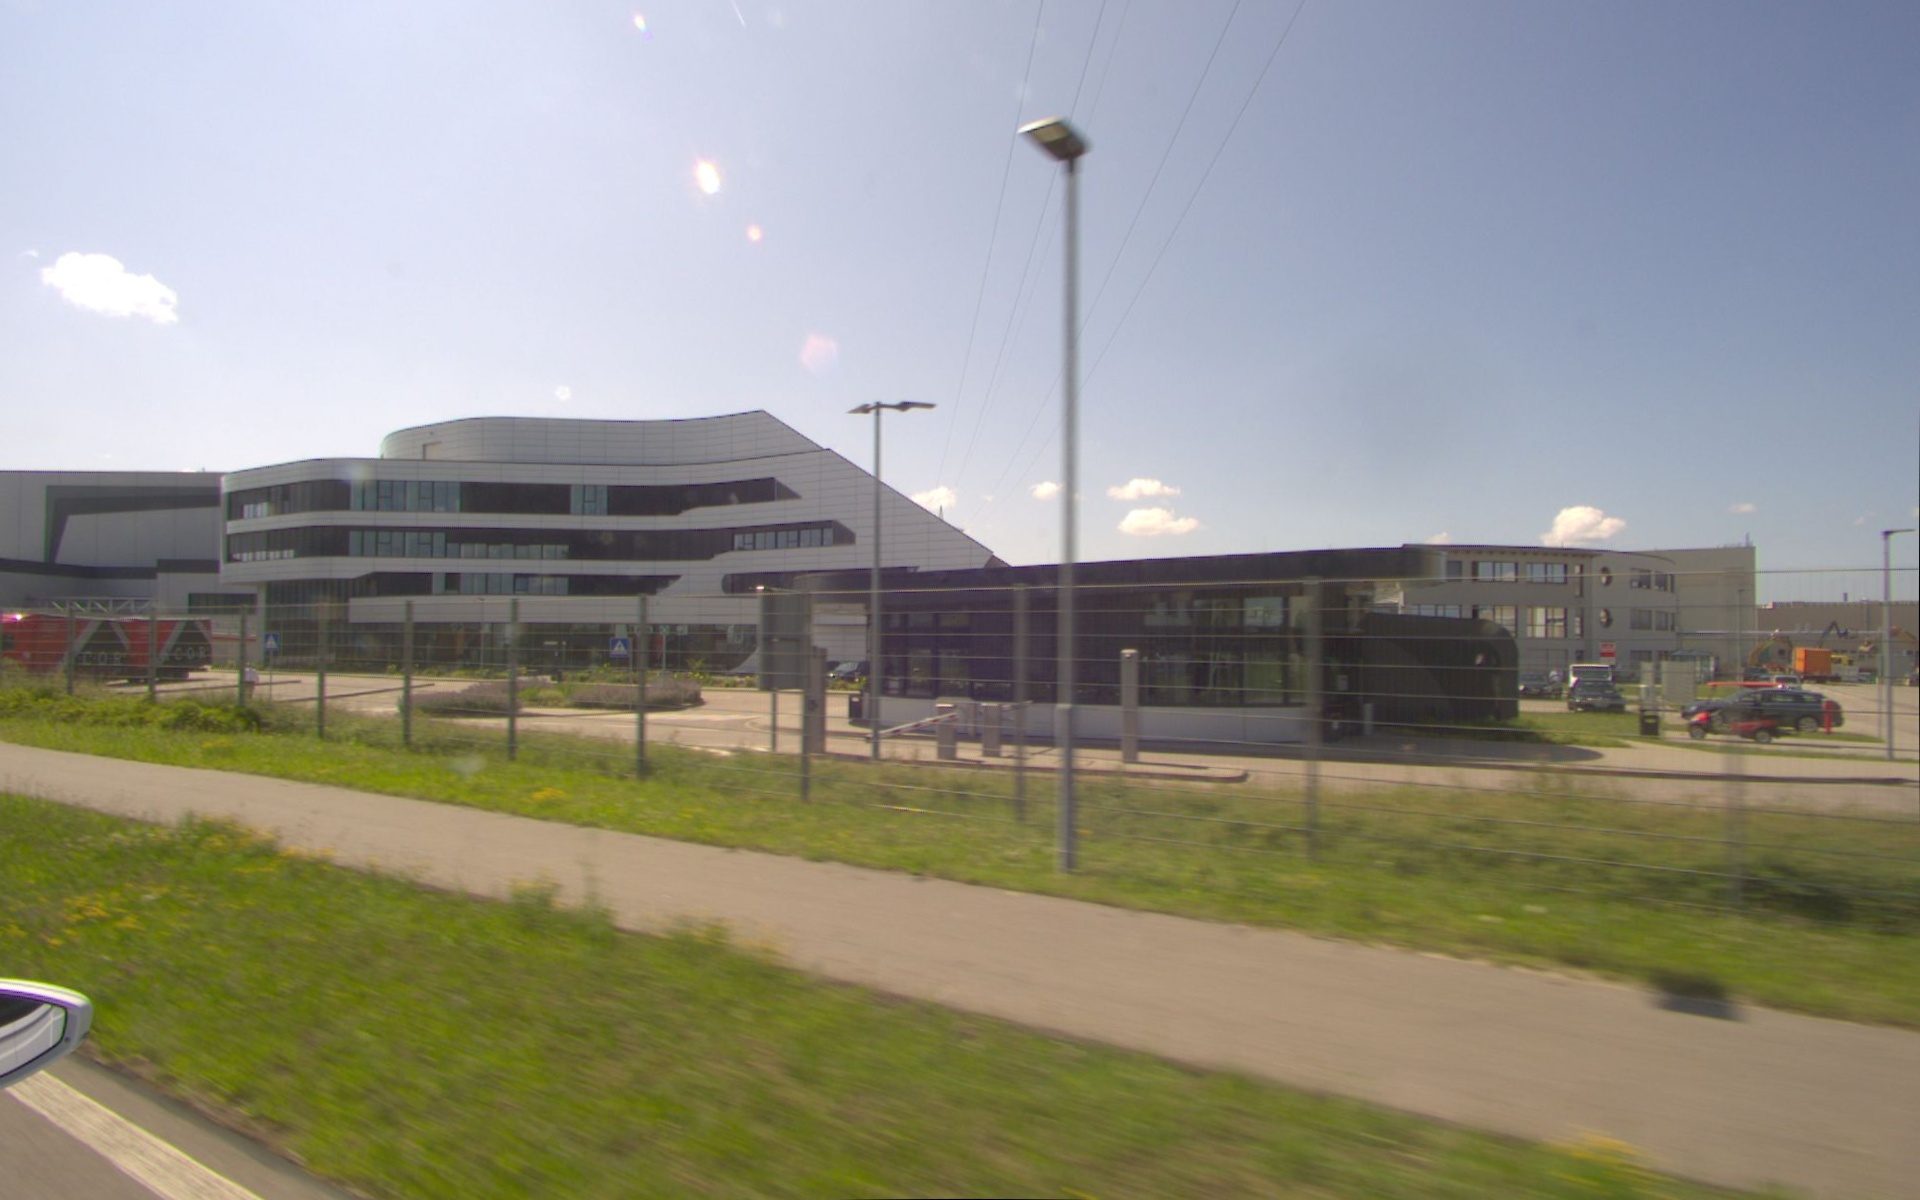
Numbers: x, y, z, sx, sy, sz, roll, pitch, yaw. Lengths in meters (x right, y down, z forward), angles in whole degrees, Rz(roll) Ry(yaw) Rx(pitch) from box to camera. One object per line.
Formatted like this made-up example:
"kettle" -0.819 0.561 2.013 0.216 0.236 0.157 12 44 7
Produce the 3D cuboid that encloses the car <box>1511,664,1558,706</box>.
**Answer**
"car" 30.441 4.466 52.986 1.971 2.038 4.732 -1 -4 32

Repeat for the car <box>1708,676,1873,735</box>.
"car" 32.030 4.022 38.834 4.687 2.038 1.990 -1 -4 34

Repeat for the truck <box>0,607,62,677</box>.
"truck" -59.499 2.536 60.075 2.769 4.226 10.972 0 -2 -9

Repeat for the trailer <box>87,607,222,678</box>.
"trailer" -52.840 2.742 66.102 2.971 4.351 8.714 0 -2 -9

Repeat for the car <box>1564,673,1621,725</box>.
"car" 27.100 4.177 42.947 1.971 2.038 4.732 -1 -4 32

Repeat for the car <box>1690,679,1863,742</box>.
"car" 29.703 3.969 36.652 4.687 2.038 1.990 -1 -4 34

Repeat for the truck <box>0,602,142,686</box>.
"truck" -51.266 2.422 56.424 2.972 4.310 10.971 0 -2 -10

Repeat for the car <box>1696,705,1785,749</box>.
"car" 24.553 3.969 31.536 2.168 1.169 1.191 -1 -2 38

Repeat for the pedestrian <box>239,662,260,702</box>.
"pedestrian" -30.180 3.475 42.540 0.565 1.673 0.483 0 -2 27

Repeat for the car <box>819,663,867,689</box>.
"car" -7.200 4.696 62.014 1.449 1.553 3.047 -1 -3 28
